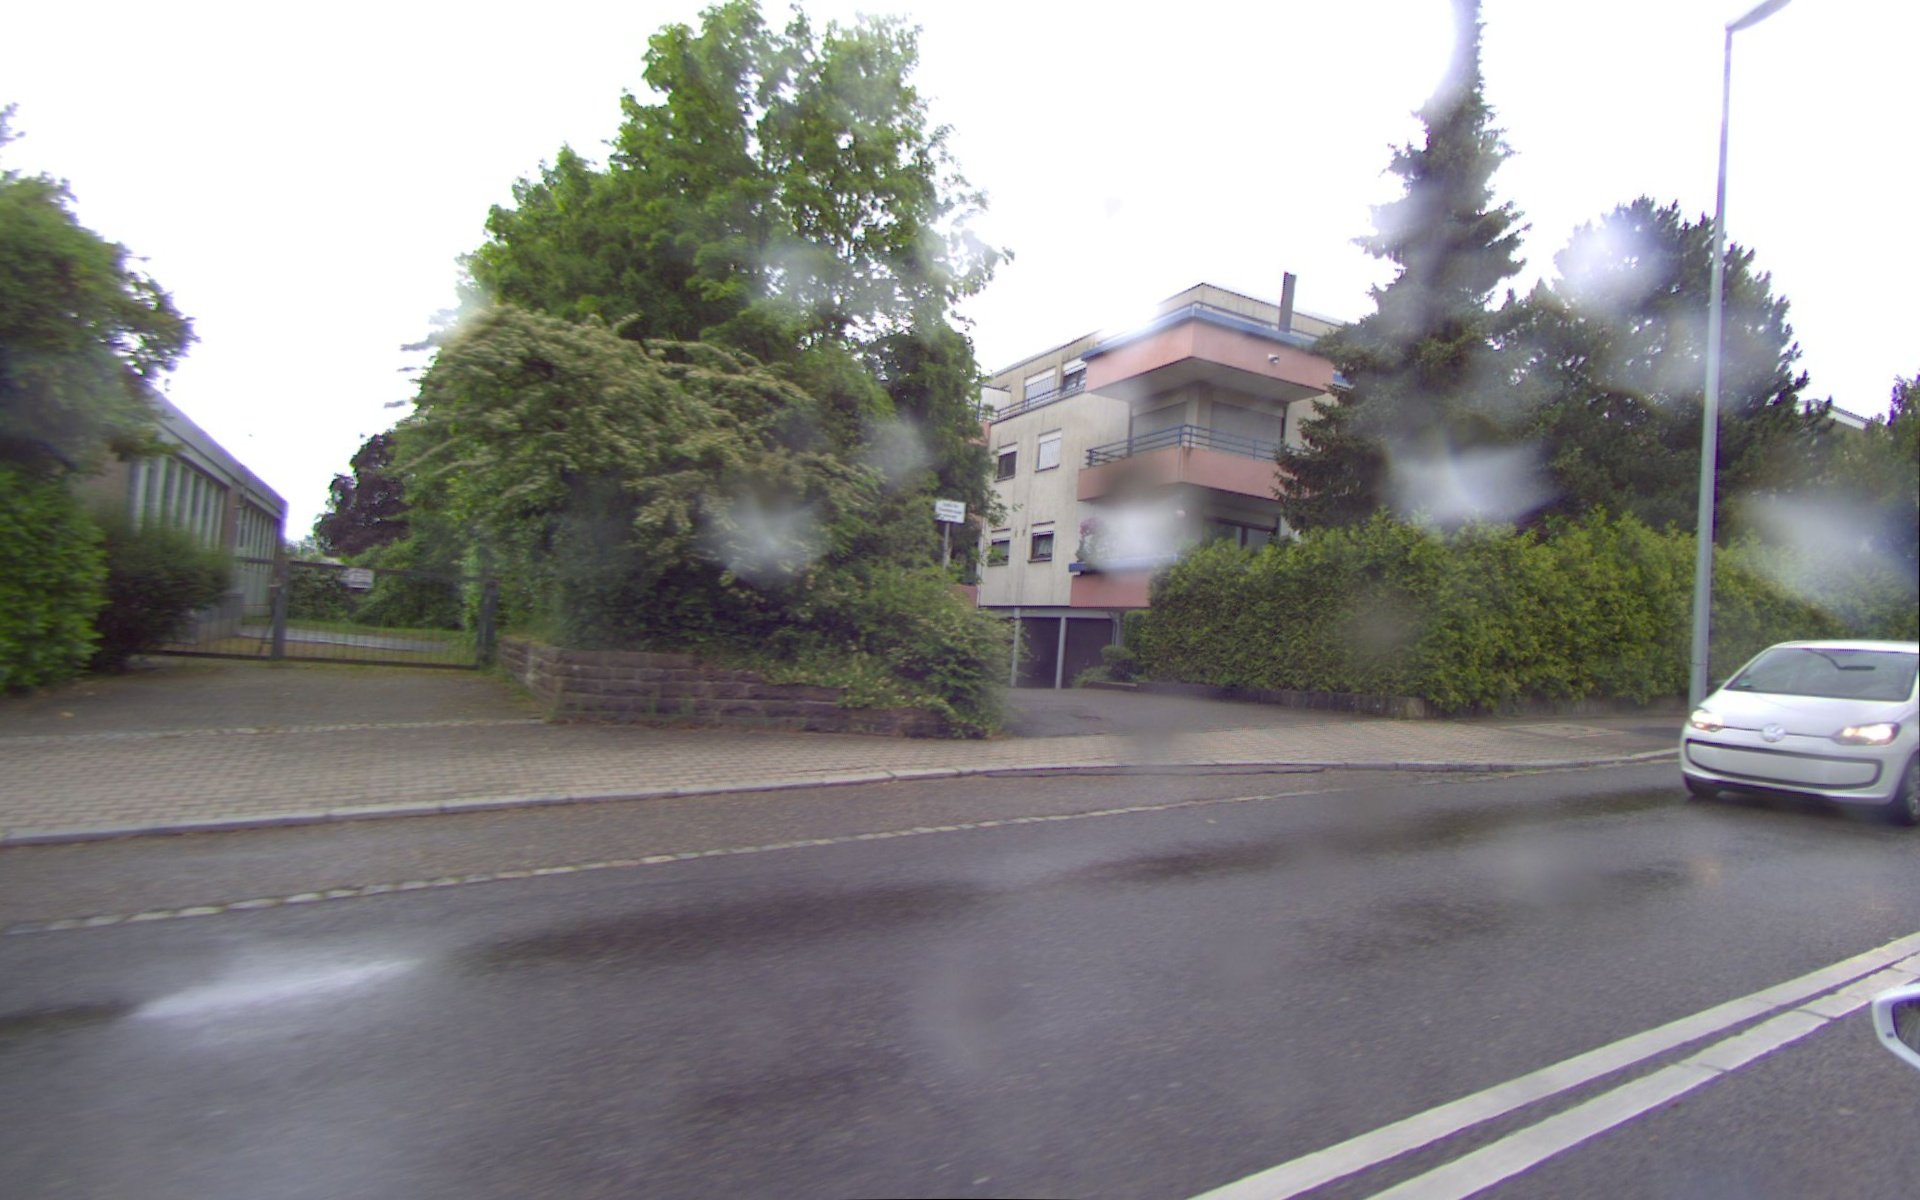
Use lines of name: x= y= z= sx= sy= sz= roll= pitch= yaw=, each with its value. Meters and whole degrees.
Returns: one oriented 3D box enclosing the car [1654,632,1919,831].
car: x=8.184 y=1.074 z=9.290 sx=3.359 sy=1.473 sz=1.676 roll=2 pitch=-1 yaw=-31
